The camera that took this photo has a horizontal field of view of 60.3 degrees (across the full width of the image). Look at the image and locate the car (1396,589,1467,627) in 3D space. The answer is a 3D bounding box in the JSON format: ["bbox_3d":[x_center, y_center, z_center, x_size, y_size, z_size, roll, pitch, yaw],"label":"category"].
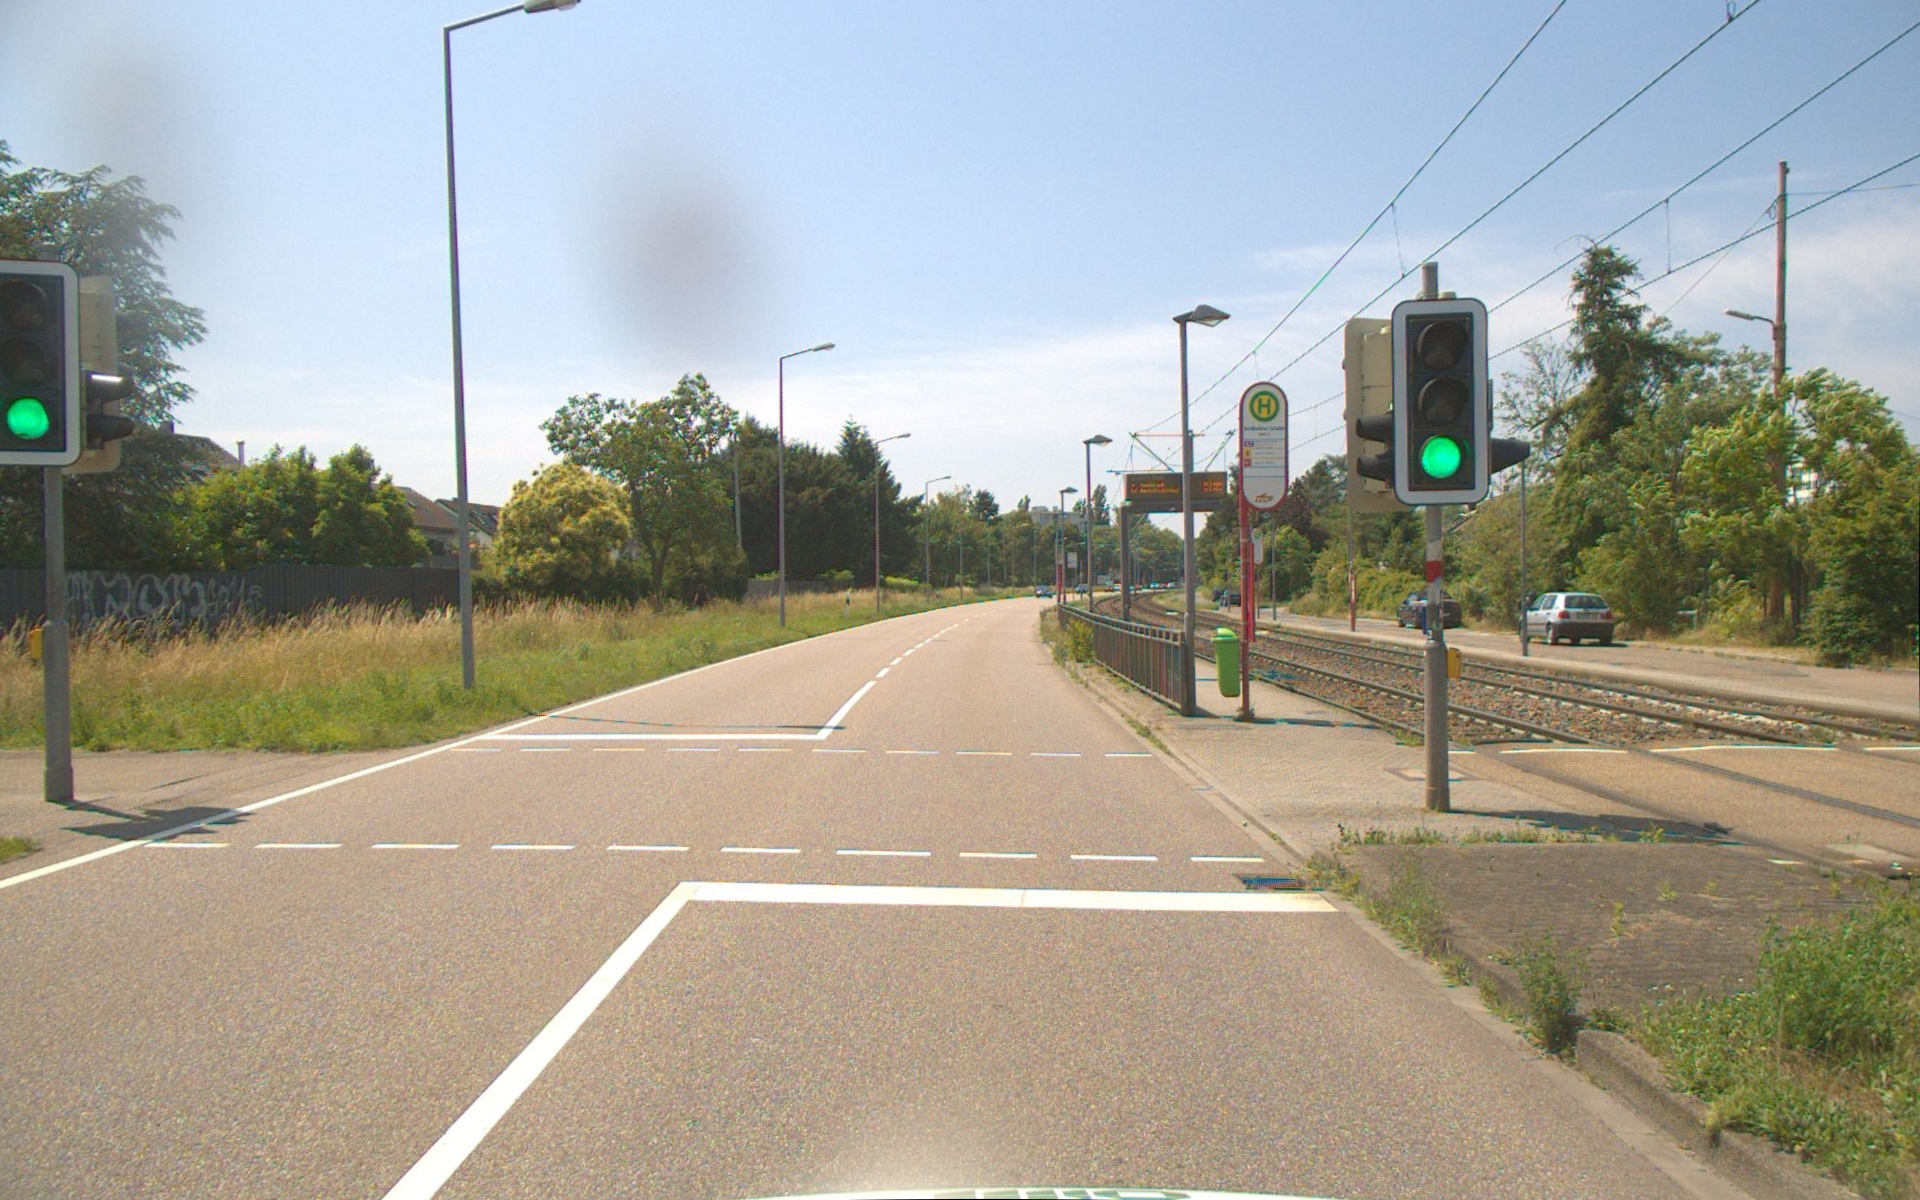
[{"bbox_3d":[18.372,0.284,64.643,1.586,1.447,4.875,0,0,3],"label":"car"}]

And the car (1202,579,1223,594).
[{"bbox_3d":[25.554,-1.323,167.472,1.873,1.496,4.003,0,0,6],"label":"car"}]

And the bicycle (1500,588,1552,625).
[{"bbox_3d":[19.929,0.224,58.299,0.695,1.291,1.662,-1,1,-32],"label":"bicycle"}]

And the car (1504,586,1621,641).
[{"bbox_3d":[16.635,0.352,45.889,1.899,1.447,4.001,0,0,2],"label":"car"}]

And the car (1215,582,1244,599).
[{"bbox_3d":[21.904,-0.758,134.470,1.822,1.353,4.517,0,0,3],"label":"car"}]

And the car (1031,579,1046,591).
[{"bbox_3d":[9.567,-1.809,200.274,1.670,1.429,4.710,0,0,4],"label":"car"}]
